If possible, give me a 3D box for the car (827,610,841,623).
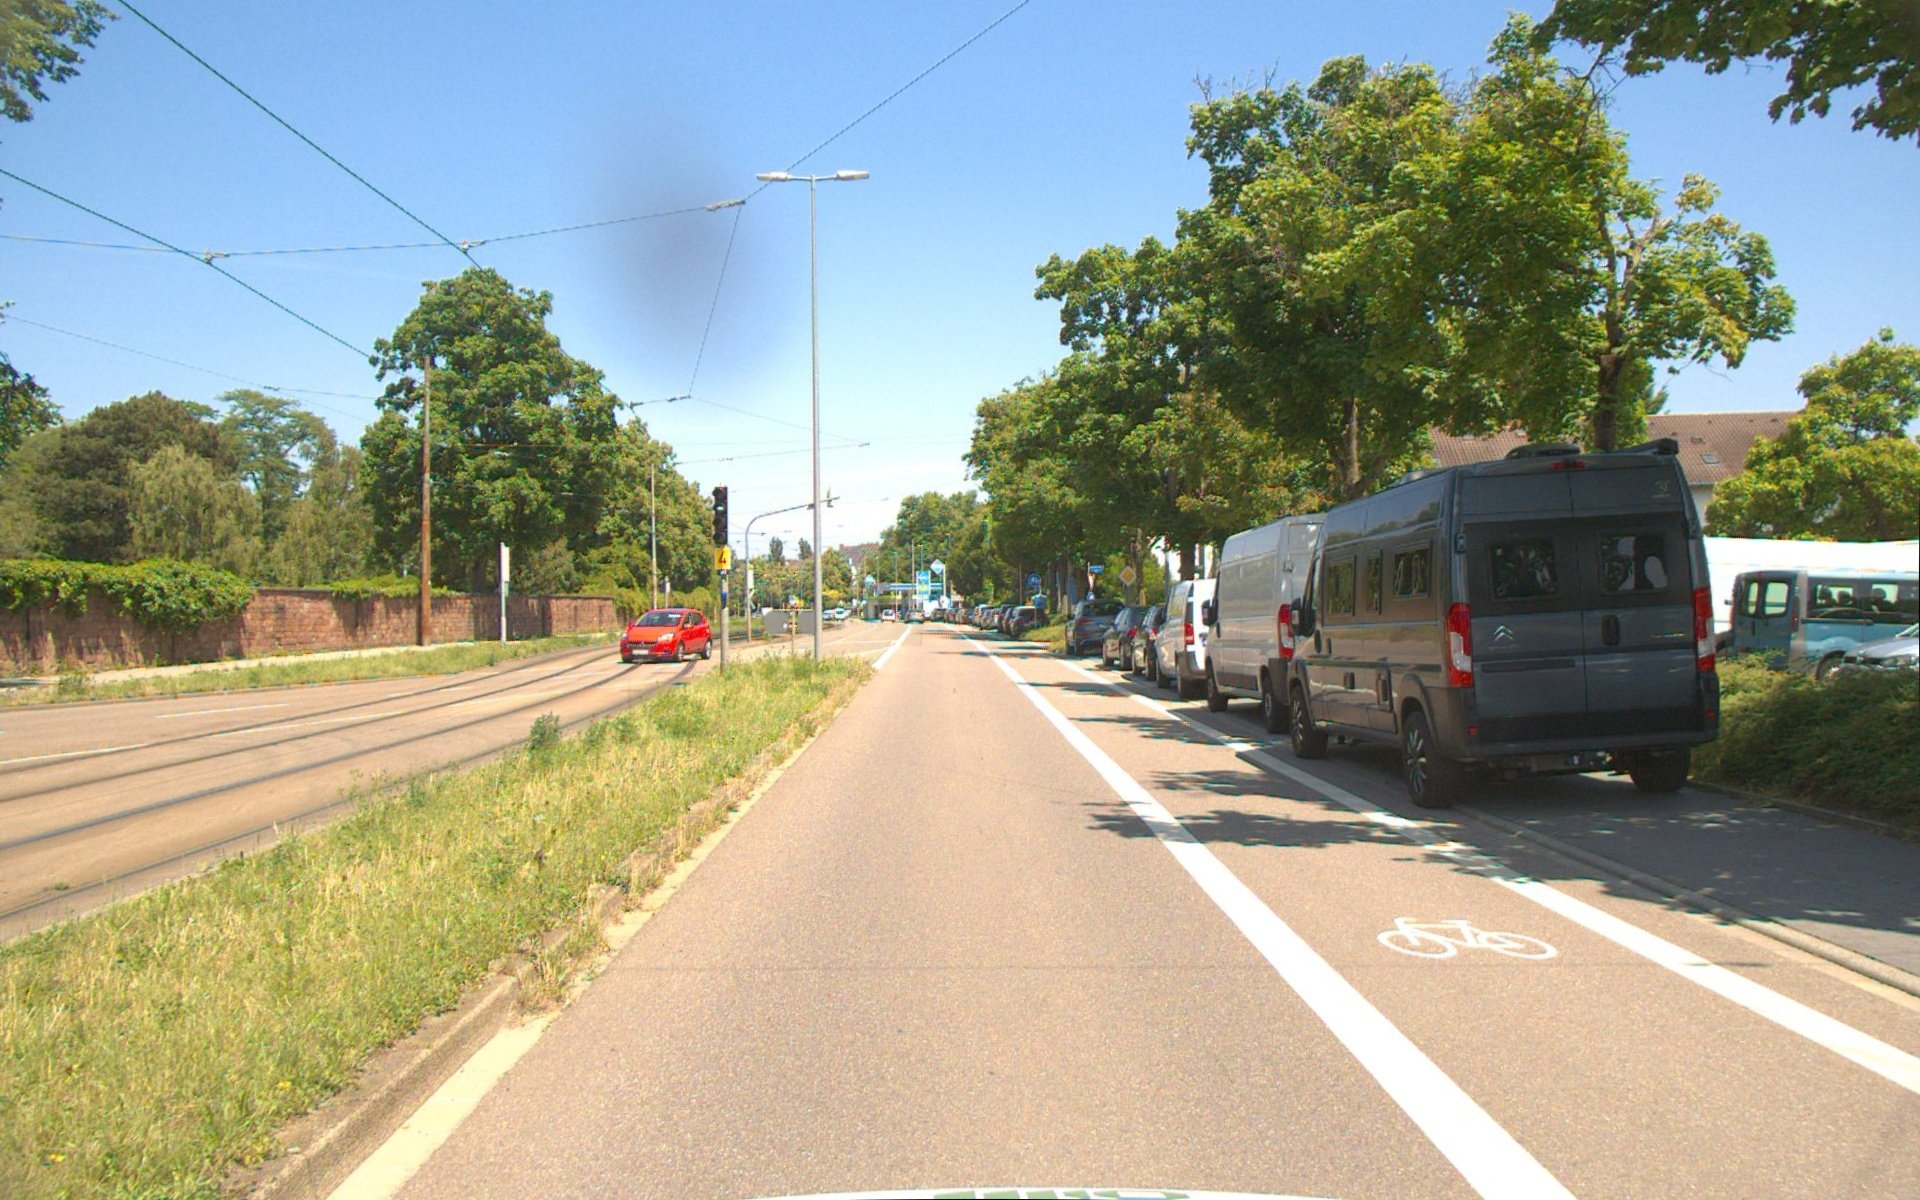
[{"bbox_3d":[-19.879,2.552,260.838,1.724,1.907,4.313,-3,0,-10],"label":"car"}]

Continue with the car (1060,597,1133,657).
[{"bbox_3d":[4.156,0.843,51.157,1.678,1.661,4.706,-3,-1,-2],"label":"car"}]

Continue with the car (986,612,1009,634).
[{"bbox_3d":[2.777,1.680,122.279,1.488,1.556,3.815,-3,0,-1],"label":"car"}]

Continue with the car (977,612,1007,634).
[{"bbox_3d":[2.442,1.735,127.278,1.804,1.556,4.962,-3,0,-4],"label":"car"}]

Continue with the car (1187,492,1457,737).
[{"bbox_3d":[4.543,0.170,21.867,1.957,2.682,6.141,-3,0,-1],"label":"car"}]

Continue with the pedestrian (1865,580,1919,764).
[{"bbox_3d":[8.997,0.643,15.222,0.789,1.653,0.943,-1,0,-1],"label":"pedestrian"}]

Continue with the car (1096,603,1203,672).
[{"bbox_3d":[4.415,0.854,39.185,1.678,1.443,4.705,-3,0,-3],"label":"car"}]

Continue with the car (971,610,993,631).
[{"bbox_3d":[1.955,1.803,148.429,1.803,1.723,4.777,-3,0,-1],"label":"car"}]

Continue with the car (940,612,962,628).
[{"bbox_3d":[-0.989,2.197,182.300,1.675,1.589,4.314,-3,0,-9],"label":"car"}]

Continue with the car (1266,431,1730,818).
[{"bbox_3d":[4.434,0.184,14.928,1.957,2.682,6.076,-3,0,-1],"label":"car"}]

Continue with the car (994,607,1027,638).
[{"bbox_3d":[3.060,1.338,100.369,1.803,1.736,4.626,-3,0,0],"label":"car"}]

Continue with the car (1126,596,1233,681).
[{"bbox_3d":[4.493,0.756,34.285,1.677,1.567,3.840,-3,0,0],"label":"car"}]

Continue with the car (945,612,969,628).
[{"bbox_3d":[-0.341,2.130,176.402,1.676,1.589,4.312,-3,0,-10],"label":"car"}]

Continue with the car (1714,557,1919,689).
[{"bbox_3d":[14.500,0.381,26.122,4.321,1.942,1.952,2,-1,-6],"label":"car"}]

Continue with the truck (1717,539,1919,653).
[{"bbox_3d":[26.742,-0.148,49.722,6.807,3.139,2.423,-2,-1,-2],"label":"truck"}]

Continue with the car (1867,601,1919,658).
[{"bbox_3d":[26.624,0.735,44.593,3.394,1.453,1.682,-2,0,1],"label":"car"}]

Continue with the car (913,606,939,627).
[{"bbox_3d":[-4.165,2.022,202.311,1.966,2.499,6.092,-3,0,-11],"label":"car"}]

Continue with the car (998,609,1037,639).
[{"bbox_3d":[3.269,1.344,94.737,1.804,1.556,4.350,-3,0,-4],"label":"car"}]

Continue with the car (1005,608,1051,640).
[{"bbox_3d":[3.376,1.180,82.774,1.804,1.461,4.821,-3,0,-3],"label":"car"}]

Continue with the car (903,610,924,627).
[{"bbox_3d":[-4.737,1.875,167.366,1.722,1.659,4.317,-3,0,-6],"label":"car"}]

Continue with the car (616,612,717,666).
[{"bbox_3d":[-8.297,1.083,47.148,1.670,1.438,4.284,0,0,6],"label":"car"}]

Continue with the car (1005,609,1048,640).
[{"bbox_3d":[3.544,1.295,89.177,1.804,1.556,4.202,-3,0,-4],"label":"car"}]

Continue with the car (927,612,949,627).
[{"bbox_3d":[-2.582,2.274,192.232,1.724,1.659,4.313,-3,0,-10],"label":"car"}]

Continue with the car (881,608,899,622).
[{"bbox_3d":[-8.899,1.900,209.908,1.723,1.659,4.315,-3,0,-9],"label":"car"}]

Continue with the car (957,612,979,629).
[{"bbox_3d":[0.771,2.024,165.252,1.674,1.518,5.032,-3,0,-5],"label":"car"}]

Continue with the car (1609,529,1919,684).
[{"bbox_3d":[14.511,0.133,29.063,5.378,2.502,2.094,2,-1,-1],"label":"car"}]

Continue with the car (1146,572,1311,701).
[{"bbox_3d":[4.508,0.579,28.564,1.957,1.911,5.276,-3,0,1],"label":"car"}]

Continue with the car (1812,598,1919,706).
[{"bbox_3d":[14.288,0.750,23.218,3.811,1.430,1.725,2,-1,-6],"label":"car"}]

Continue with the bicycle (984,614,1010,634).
[{"bbox_3d":[2.672,1.729,120.237,1.737,1.249,0.684,-5,-1,3],"label":"bicycle"}]
